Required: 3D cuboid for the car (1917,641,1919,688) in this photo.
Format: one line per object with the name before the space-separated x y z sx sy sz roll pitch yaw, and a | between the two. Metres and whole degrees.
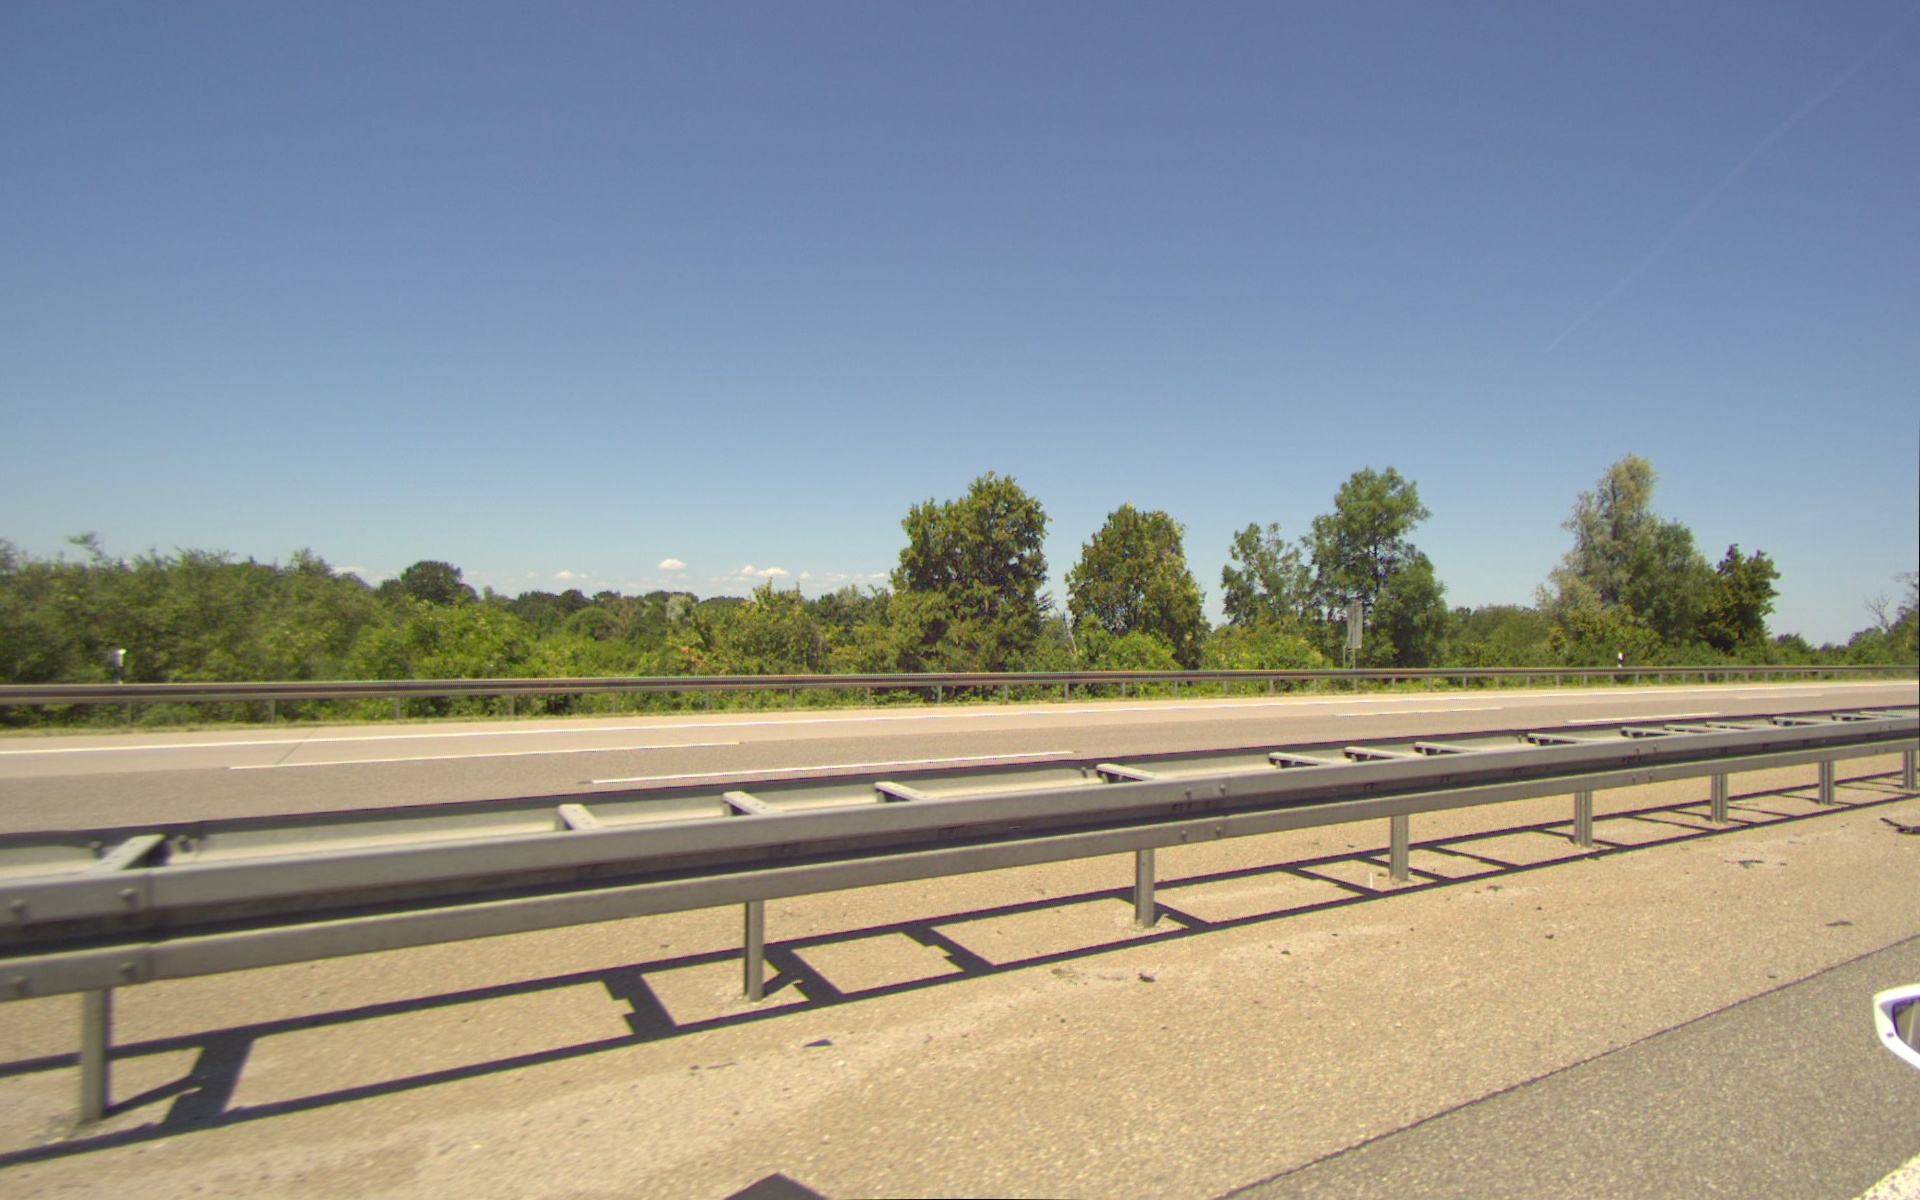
car | 28.071 1.902 27.144 4.546 1.625 1.985 2 -5 -30
